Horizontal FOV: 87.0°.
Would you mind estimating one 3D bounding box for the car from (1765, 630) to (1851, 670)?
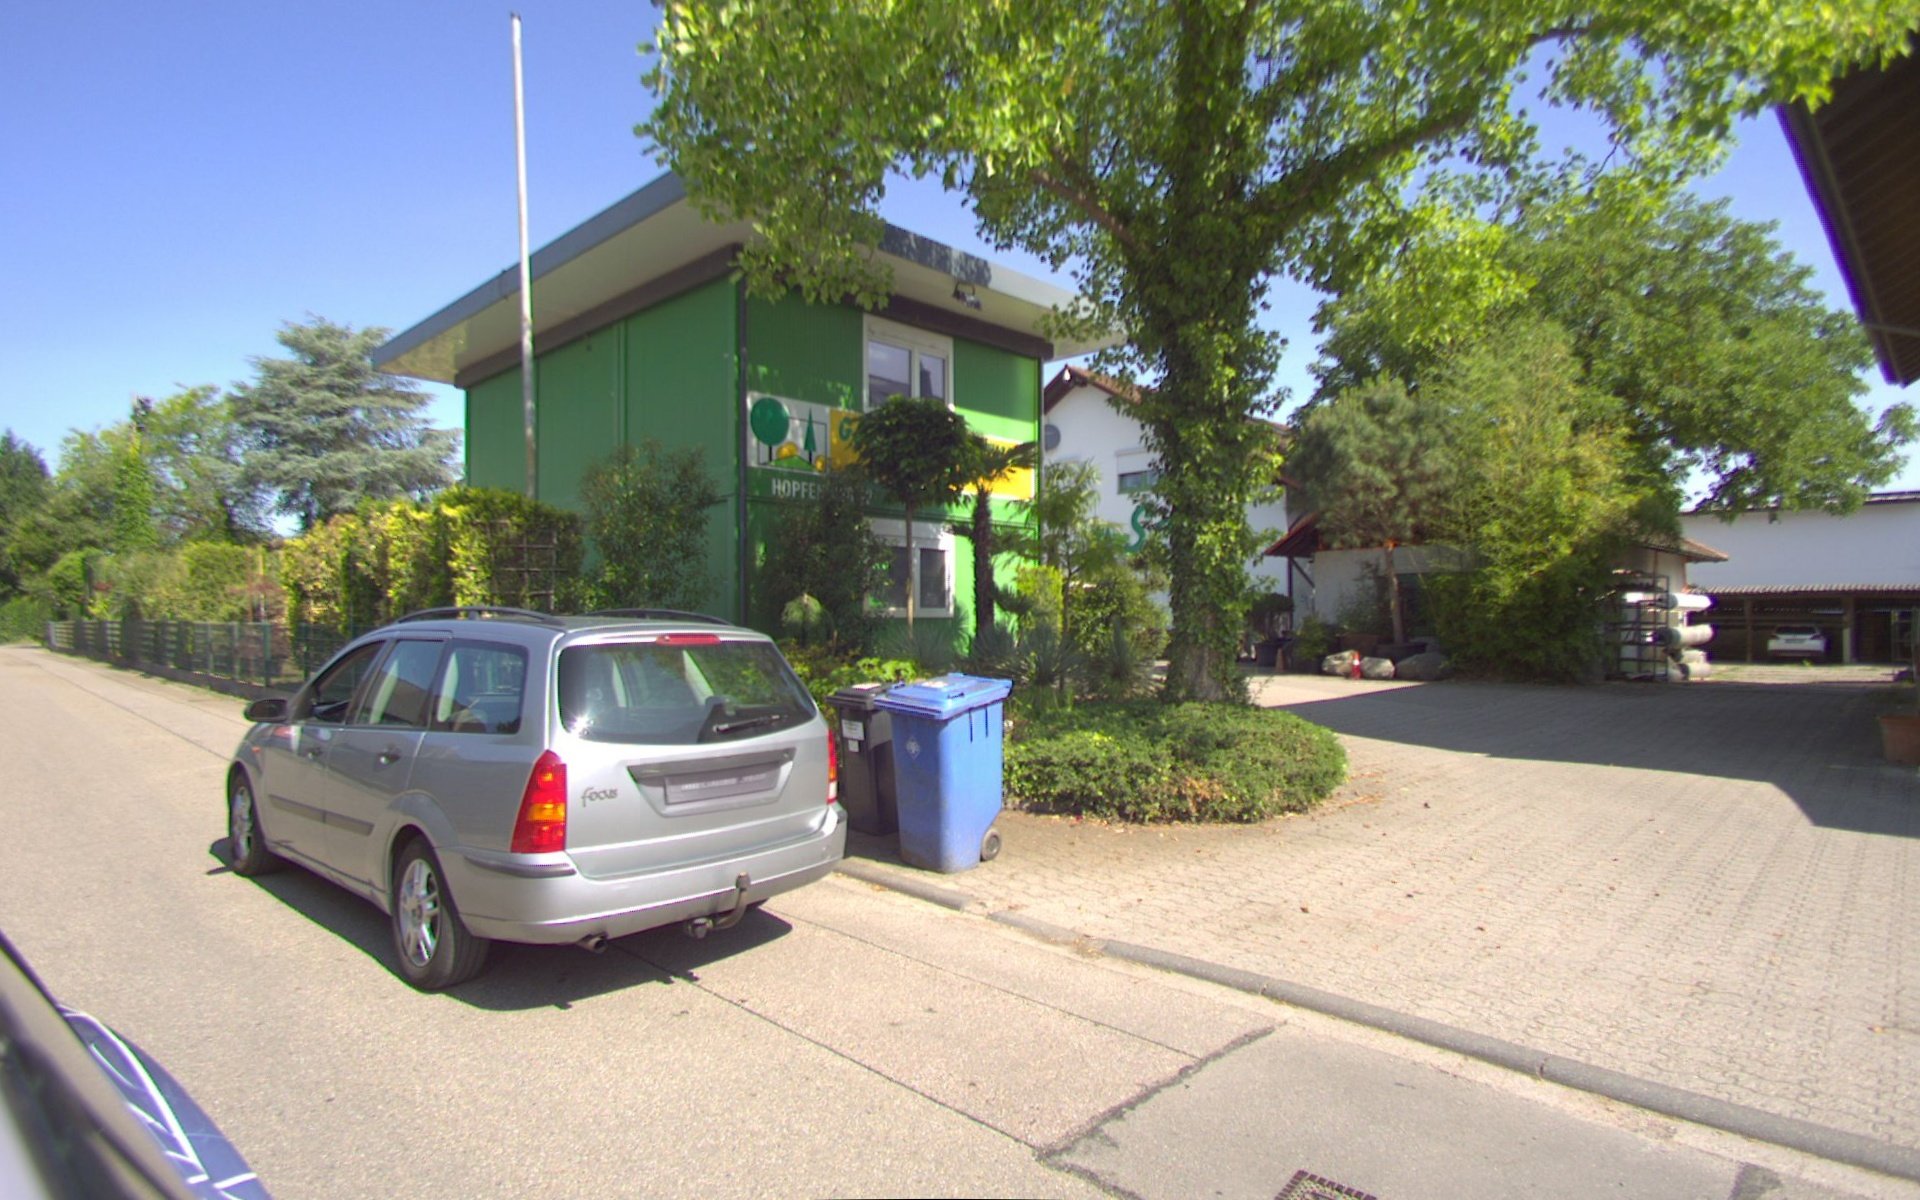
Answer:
[{"bbox_3d":[32.059,1.846,38.229,3.938,1.453,1.905,2,-2,-42],"label":"car"}]

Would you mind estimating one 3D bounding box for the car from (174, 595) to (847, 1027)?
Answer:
[{"bbox_3d":[-2.757,0.819,5.645,4.373,1.498,1.734,-2,-4,41],"label":"car"}]

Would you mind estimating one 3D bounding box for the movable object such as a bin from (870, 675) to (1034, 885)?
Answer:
[{"bbox_3d":[-0.045,1.004,5.915,0.612,1.062,0.722,-2,-1,44],"label":"movable object such as a bin"}]
